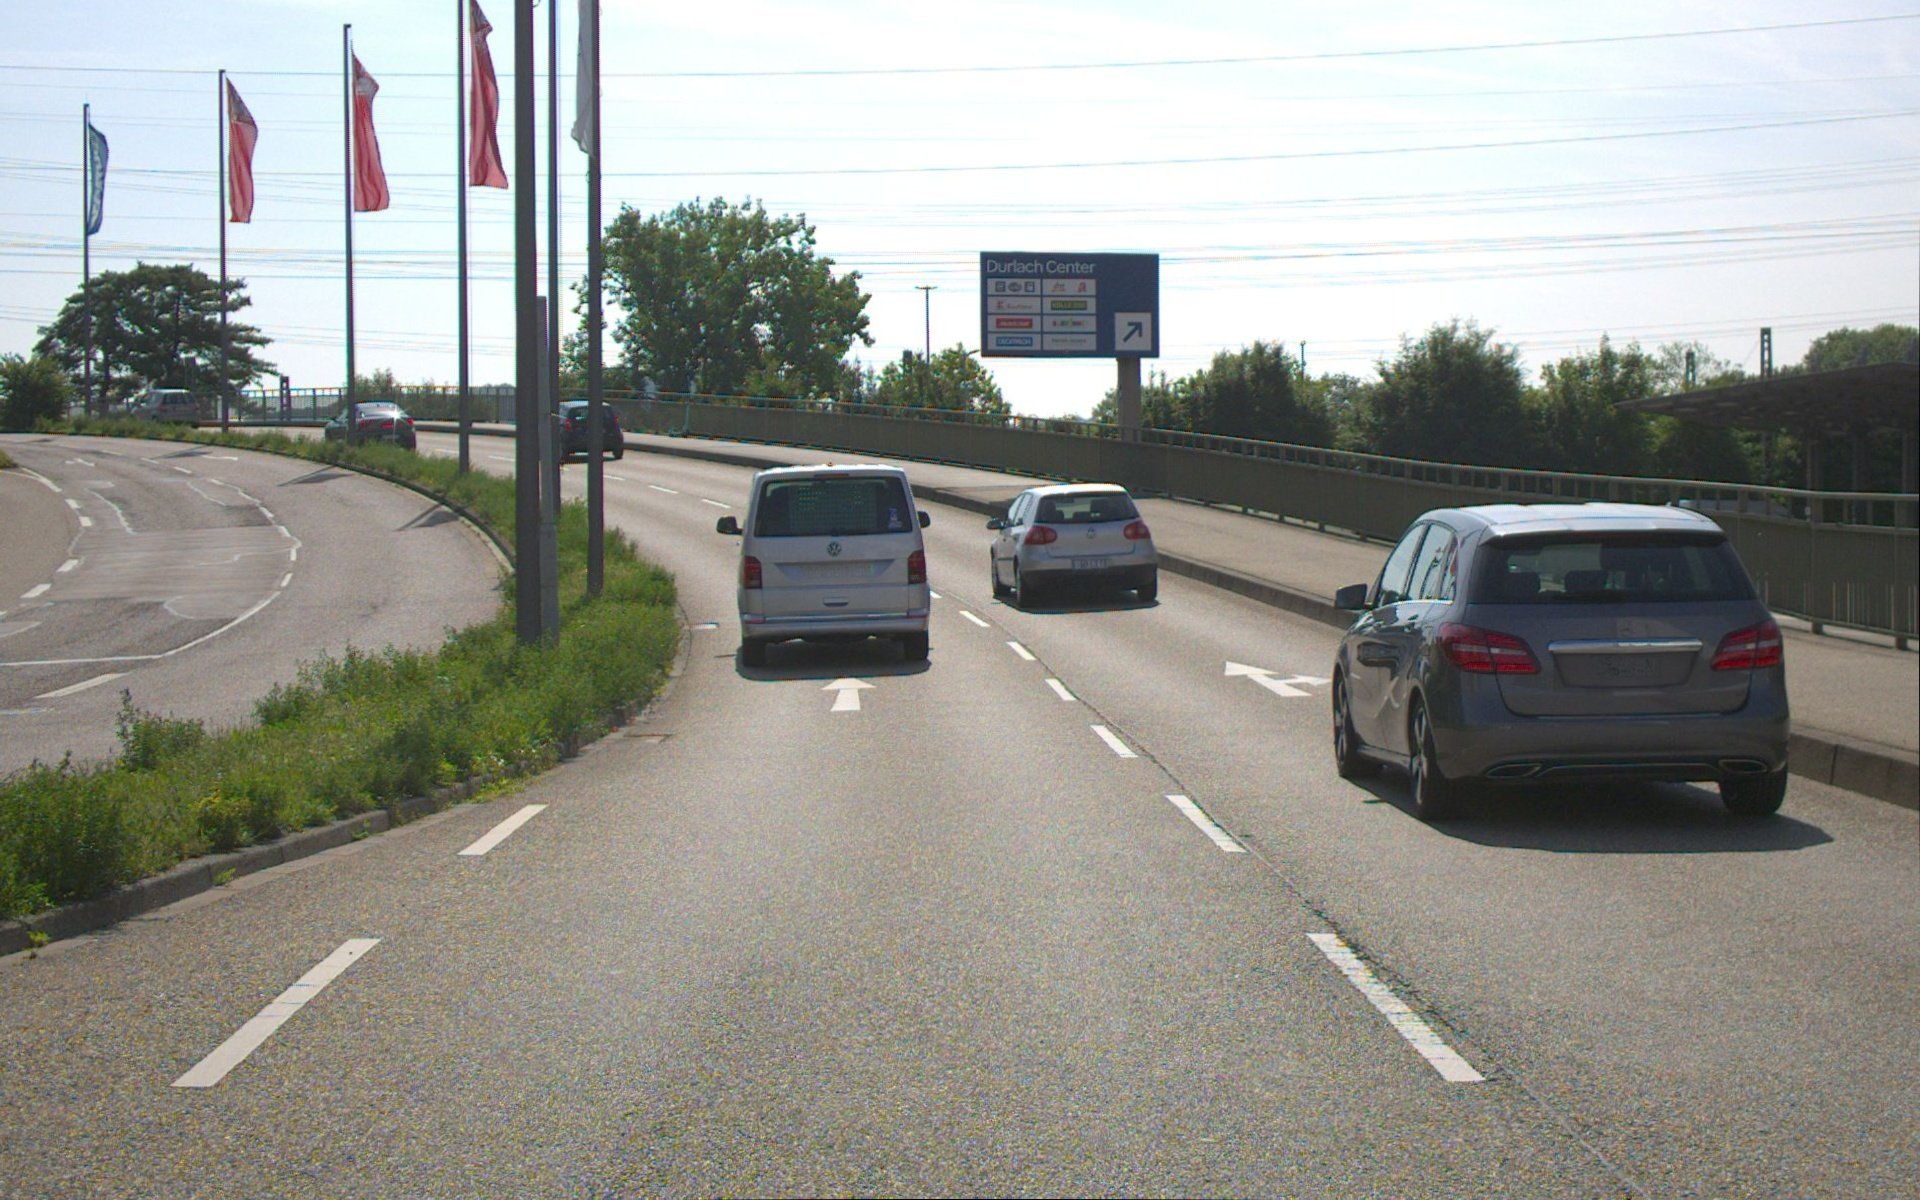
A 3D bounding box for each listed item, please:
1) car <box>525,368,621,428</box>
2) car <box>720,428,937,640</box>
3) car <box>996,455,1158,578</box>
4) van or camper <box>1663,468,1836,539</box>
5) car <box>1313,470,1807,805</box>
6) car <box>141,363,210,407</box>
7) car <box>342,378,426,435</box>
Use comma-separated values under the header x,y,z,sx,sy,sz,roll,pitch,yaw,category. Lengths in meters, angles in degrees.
x,y,z,sx,sy,sz,roll,pitch,yaw,category
-10.262,-5.355,91.031,1.530,1.474,3.597,0,4,-23,car
-1.270,-0.731,34.927,1.917,1.968,4.298,-1,3,1,car
1.432,-1.087,43.461,1.666,1.409,3.683,-2,3,-3,car
27.077,-3.286,117.860,5.418,2.171,2.106,2,0,-19,van or camper
2.986,0.112,17.945,1.773,1.533,4.138,-1,2,-1,car
-29.455,-8.049,129.012,1.531,1.475,3.425,0,1,-31,car
-16.448,-5.504,98.103,1.530,1.475,3.248,0,1,-25,car
